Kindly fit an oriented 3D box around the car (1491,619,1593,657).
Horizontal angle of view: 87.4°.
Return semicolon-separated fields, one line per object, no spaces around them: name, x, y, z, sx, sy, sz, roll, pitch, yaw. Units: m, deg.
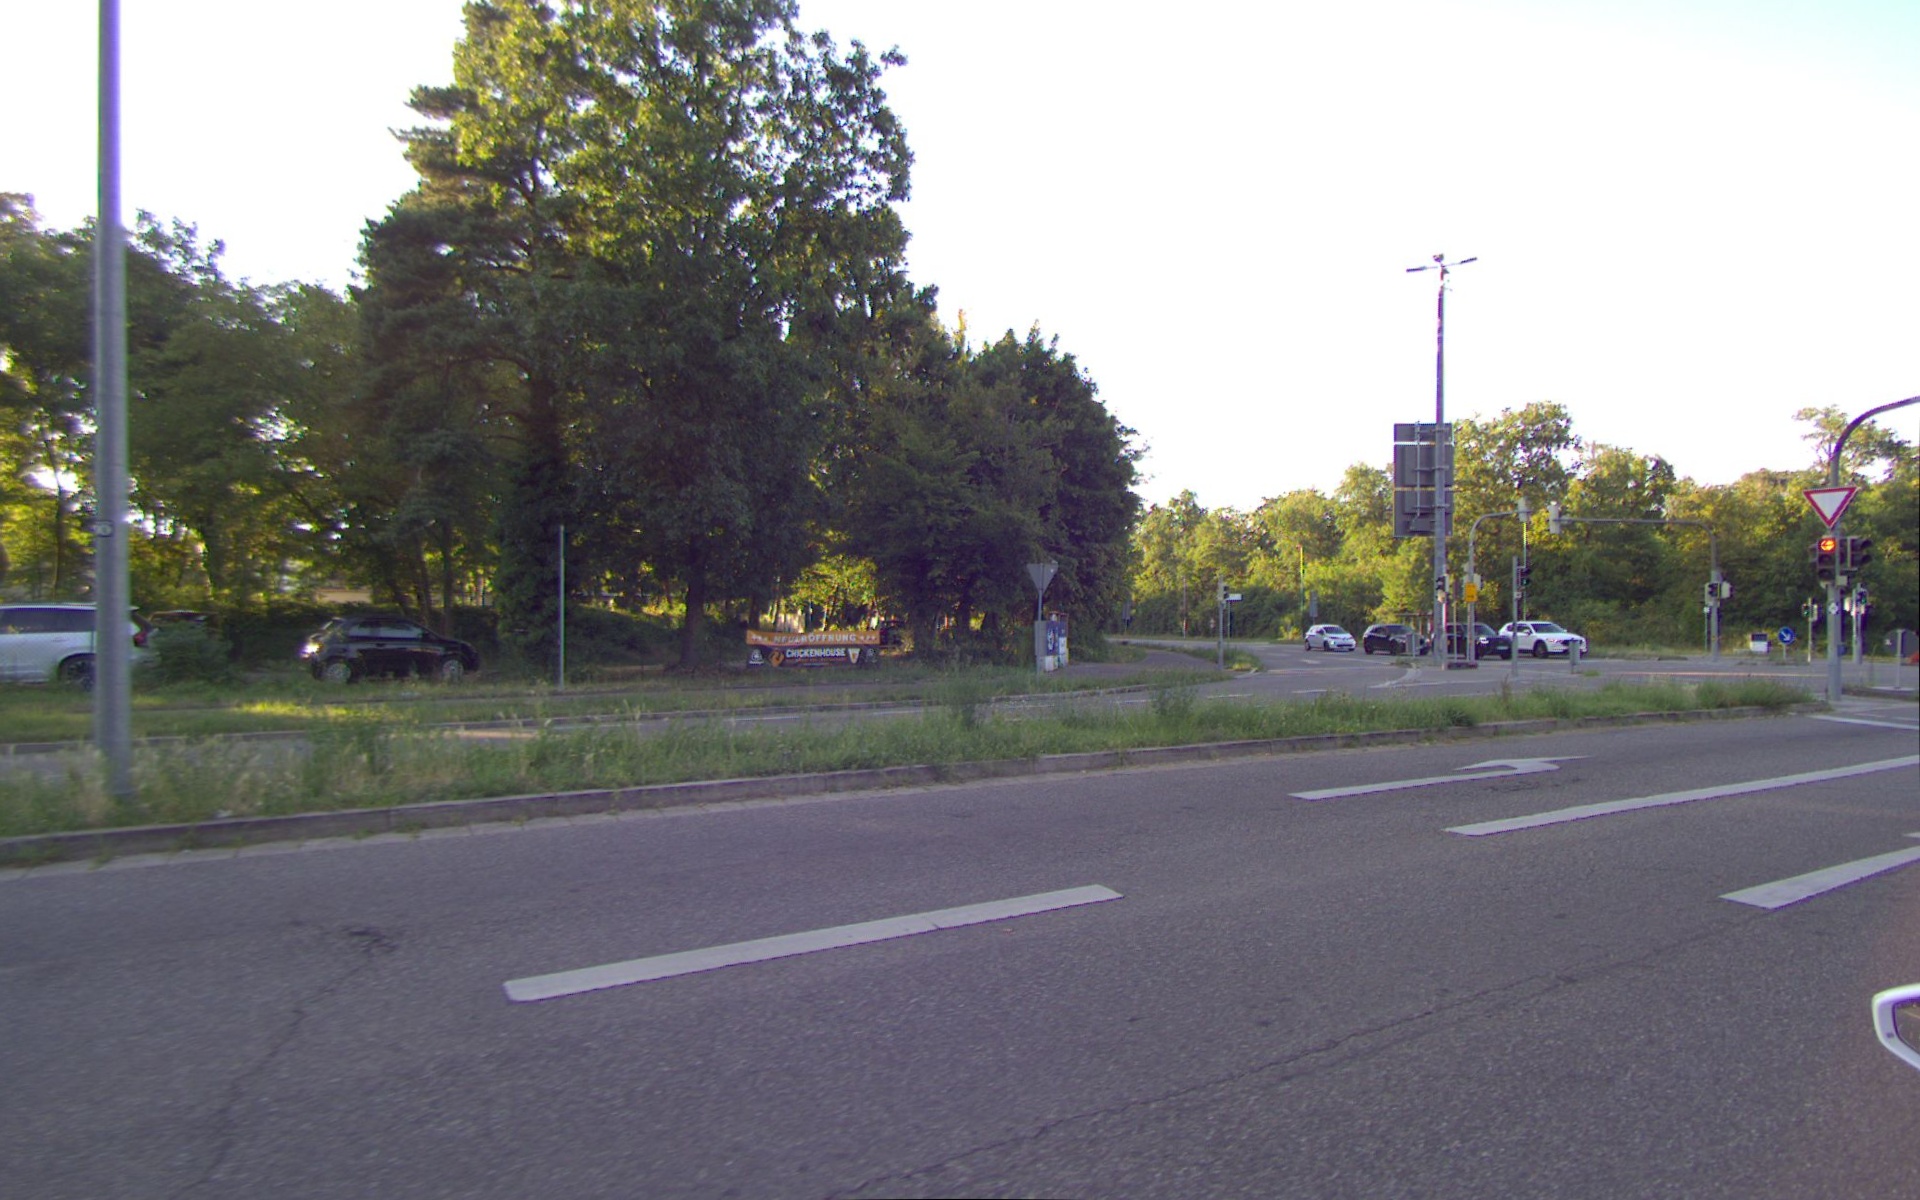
car;26.805;1.710;46.421;1.963;1.661;4.253;0;-1;-6

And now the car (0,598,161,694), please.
car;-18.849;0.881;19.605;4.870;1.810;1.982;1;-2;-34

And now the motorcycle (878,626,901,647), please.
motorcycle;-3.602;1.861;51.124;1.156;1.031;0.383;0;-1;-11

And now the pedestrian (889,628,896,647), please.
pedestrian;-3.442;1.908;51.159;0.316;0.931;0.375;0;-1;-11

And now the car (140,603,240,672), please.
car;-20.166;0.945;26.453;1.900;1.673;3.961;1;-1;-35

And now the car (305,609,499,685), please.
car;-12.824;1.051;23.138;3.776;1.618;1.843;1;-2;-35

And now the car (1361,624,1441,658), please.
car;22.960;2.116;52.466;1.962;1.661;4.254;0;-1;-6

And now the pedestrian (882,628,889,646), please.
pedestrian;-3.769;1.891;51.089;0.316;0.937;0.375;0;-1;-11

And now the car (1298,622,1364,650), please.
car;22.348;2.142;60.638;1.963;1.661;4.252;0;-1;-8

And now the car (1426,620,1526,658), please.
car;23.085;1.716;45.110;1.963;1.661;4.253;0;-1;-6
